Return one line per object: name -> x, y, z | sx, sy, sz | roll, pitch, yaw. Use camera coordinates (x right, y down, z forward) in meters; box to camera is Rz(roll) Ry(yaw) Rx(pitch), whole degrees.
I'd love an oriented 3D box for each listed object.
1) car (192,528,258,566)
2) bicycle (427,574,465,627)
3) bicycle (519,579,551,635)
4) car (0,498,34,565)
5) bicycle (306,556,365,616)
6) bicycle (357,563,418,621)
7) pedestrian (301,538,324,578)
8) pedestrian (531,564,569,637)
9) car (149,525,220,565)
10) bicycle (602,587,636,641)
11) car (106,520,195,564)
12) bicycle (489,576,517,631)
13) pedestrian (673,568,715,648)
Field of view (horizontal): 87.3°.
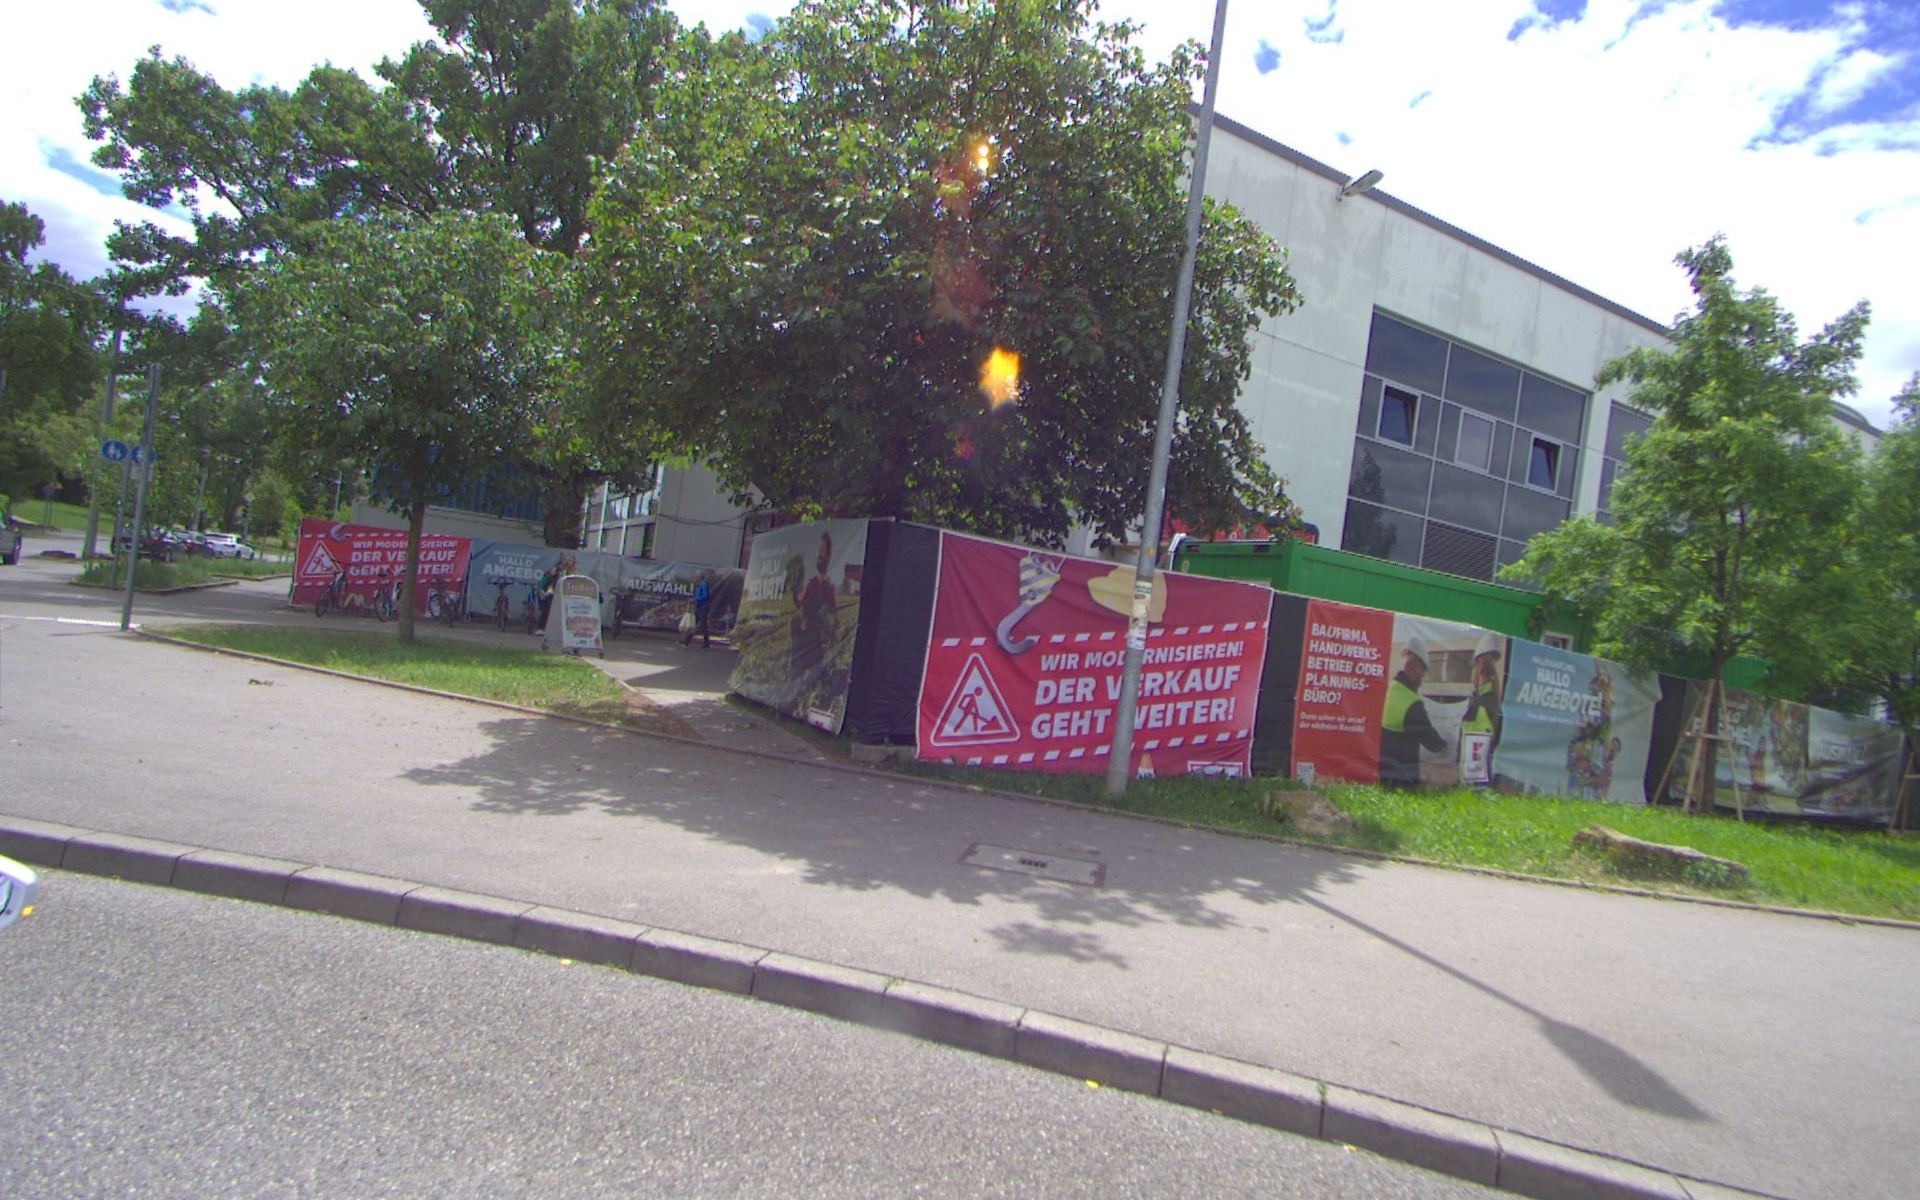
car -> -37.441, -2.652, 51.326 | 1.719, 1.636, 4.363 | 5, -1, -24
bicycle -> -11.510, 0.003, 22.491 | 0.516, 1.053, 1.786 | 7, -1, -32
bicycle -> -9.833, 0.141, 23.243 | 0.435, 1.168, 1.756 | 8, -2, -26
car -> -25.055, -1.817, 25.230 | 1.867, 1.641, 4.803 | 6, -1, -34
bicycle -> -13.322, -0.278, 21.512 | 0.444, 1.168, 1.786 | 8, -2, -15
bicycle -> -12.543, -0.153, 22.092 | 0.493, 1.168, 1.770 | 8, -2, -11
pedestrian -> -28.948, -1.872, 44.984 | 0.646, 1.716, 0.719 | 8, -1, -31
pedestrian -> -9.303, 0.011, 22.805 | 0.618, 1.585, 0.492 | 7, 0, -25
car -> -35.448, -2.487, 46.090 | 1.553, 1.511, 3.979 | 7, -1, -24
bicycle -> -8.217, 0.316, 24.196 | 0.523, 1.168, 1.904 | 8, -2, -22
car -> -33.327, -2.328, 41.567 | 1.748, 1.495, 4.905 | 5, -1, -26
bicycle -> -10.442, 0.068, 22.971 | 0.421, 1.168, 1.652 | 8, -2, -25
pedestrian -> -6.213, 0.186, 23.480 | 0.738, 1.779, 0.621 | 5, 0, -25
